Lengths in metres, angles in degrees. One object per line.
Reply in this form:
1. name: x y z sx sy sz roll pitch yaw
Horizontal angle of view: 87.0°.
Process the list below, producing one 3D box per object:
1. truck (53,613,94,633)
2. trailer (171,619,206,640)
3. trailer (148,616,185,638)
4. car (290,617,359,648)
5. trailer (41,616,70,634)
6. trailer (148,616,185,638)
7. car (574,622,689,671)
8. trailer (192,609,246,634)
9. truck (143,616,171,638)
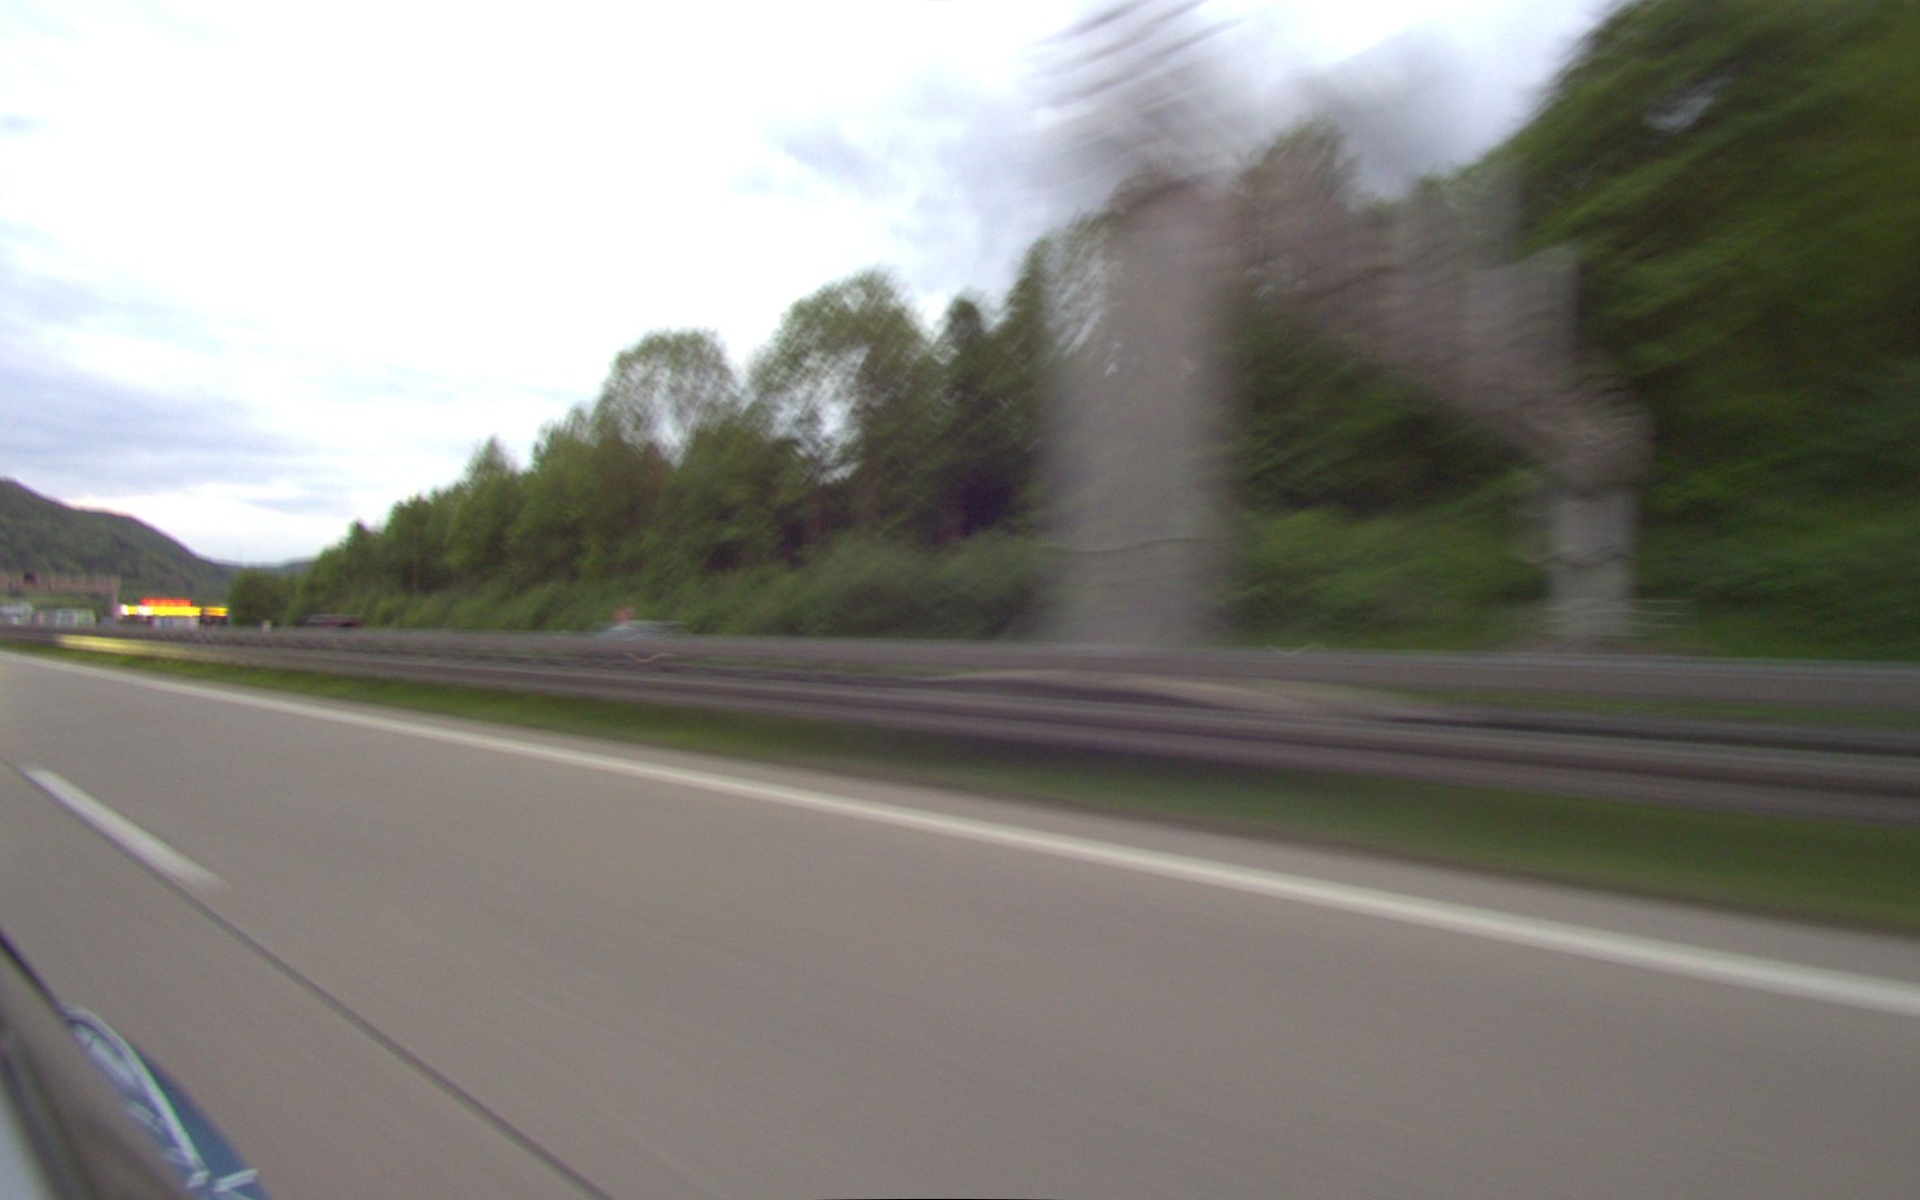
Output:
1. truck: -160.784 4.229 183.531 13.765 3.451 2.847 -1 -1 37
2. trailer: -142.523 5.384 186.931 12.712 3.707 2.843 -2 -2 42
3. trailer: -157.052 5.333 200.164 15.941 4.292 2.986 -1 -2 42
4. car: -37.065 1.867 58.936 5.657 1.747 1.829 -1 -1 41
5. trailer: -178.734 4.904 199.897 13.846 3.451 2.843 -2 -2 42
6. trailer: -157.087 5.375 200.123 15.941 4.292 2.986 -1 -2 42
7. car: -12.047 1.641 36.948 4.773 1.651 1.829 -1 -1 41
8. trailer: -117.803 3.450 161.150 3.018 3.707 13.384 0 -1 -19
9. truck: -163.092 5.510 205.513 8.861 4.292 2.986 -1 -2 42
